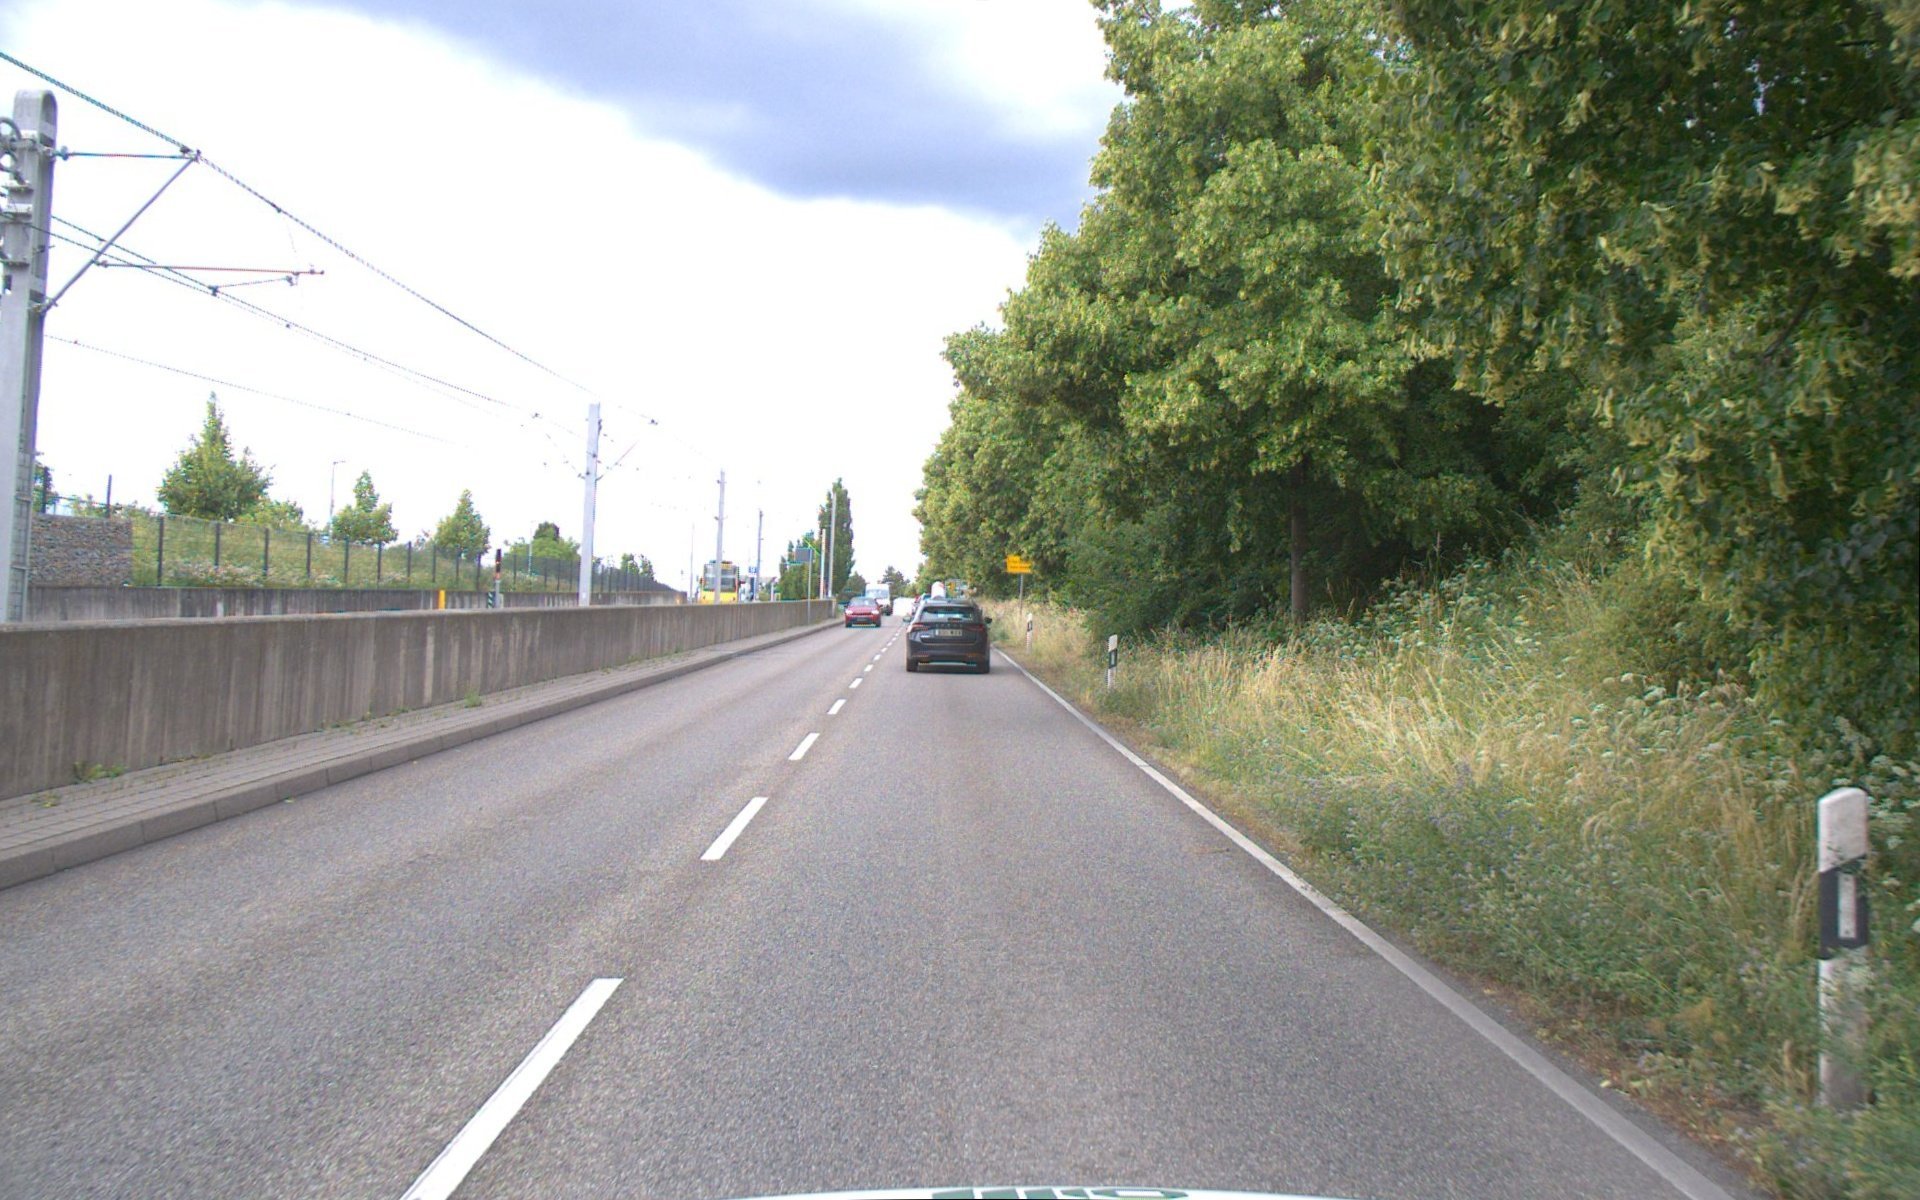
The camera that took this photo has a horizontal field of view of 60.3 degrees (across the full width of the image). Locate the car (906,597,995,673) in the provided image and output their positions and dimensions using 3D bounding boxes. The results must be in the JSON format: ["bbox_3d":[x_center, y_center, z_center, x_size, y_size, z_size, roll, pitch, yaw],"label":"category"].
[{"bbox_3d":[-0.225,0.683,34.687,1.745,1.493,3.999,0,0,-1],"label":"car"}]

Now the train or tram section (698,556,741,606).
[{"bbox_3d":[-17.728,-1.251,121.023,2.760,3.172,18.873,1,-1,-9],"label":"train or tram section"}]

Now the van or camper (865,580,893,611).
[{"bbox_3d":[-6.474,-0.367,132.890,2.040,2.438,6.135,1,0,-1],"label":"van or camper"}]

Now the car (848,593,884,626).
[{"bbox_3d":[-4.597,0.456,81.184,1.629,1.572,3.951,0,0,-2],"label":"car"}]

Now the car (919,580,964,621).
[{"bbox_3d":[-0.852,0.045,74.287,1.953,1.771,3.999,1,-1,-1],"label":"car"}]

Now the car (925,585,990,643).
[{"bbox_3d":[-0.113,0.423,52.488,1.953,1.783,3.999,0,0,-1],"label":"car"}]
